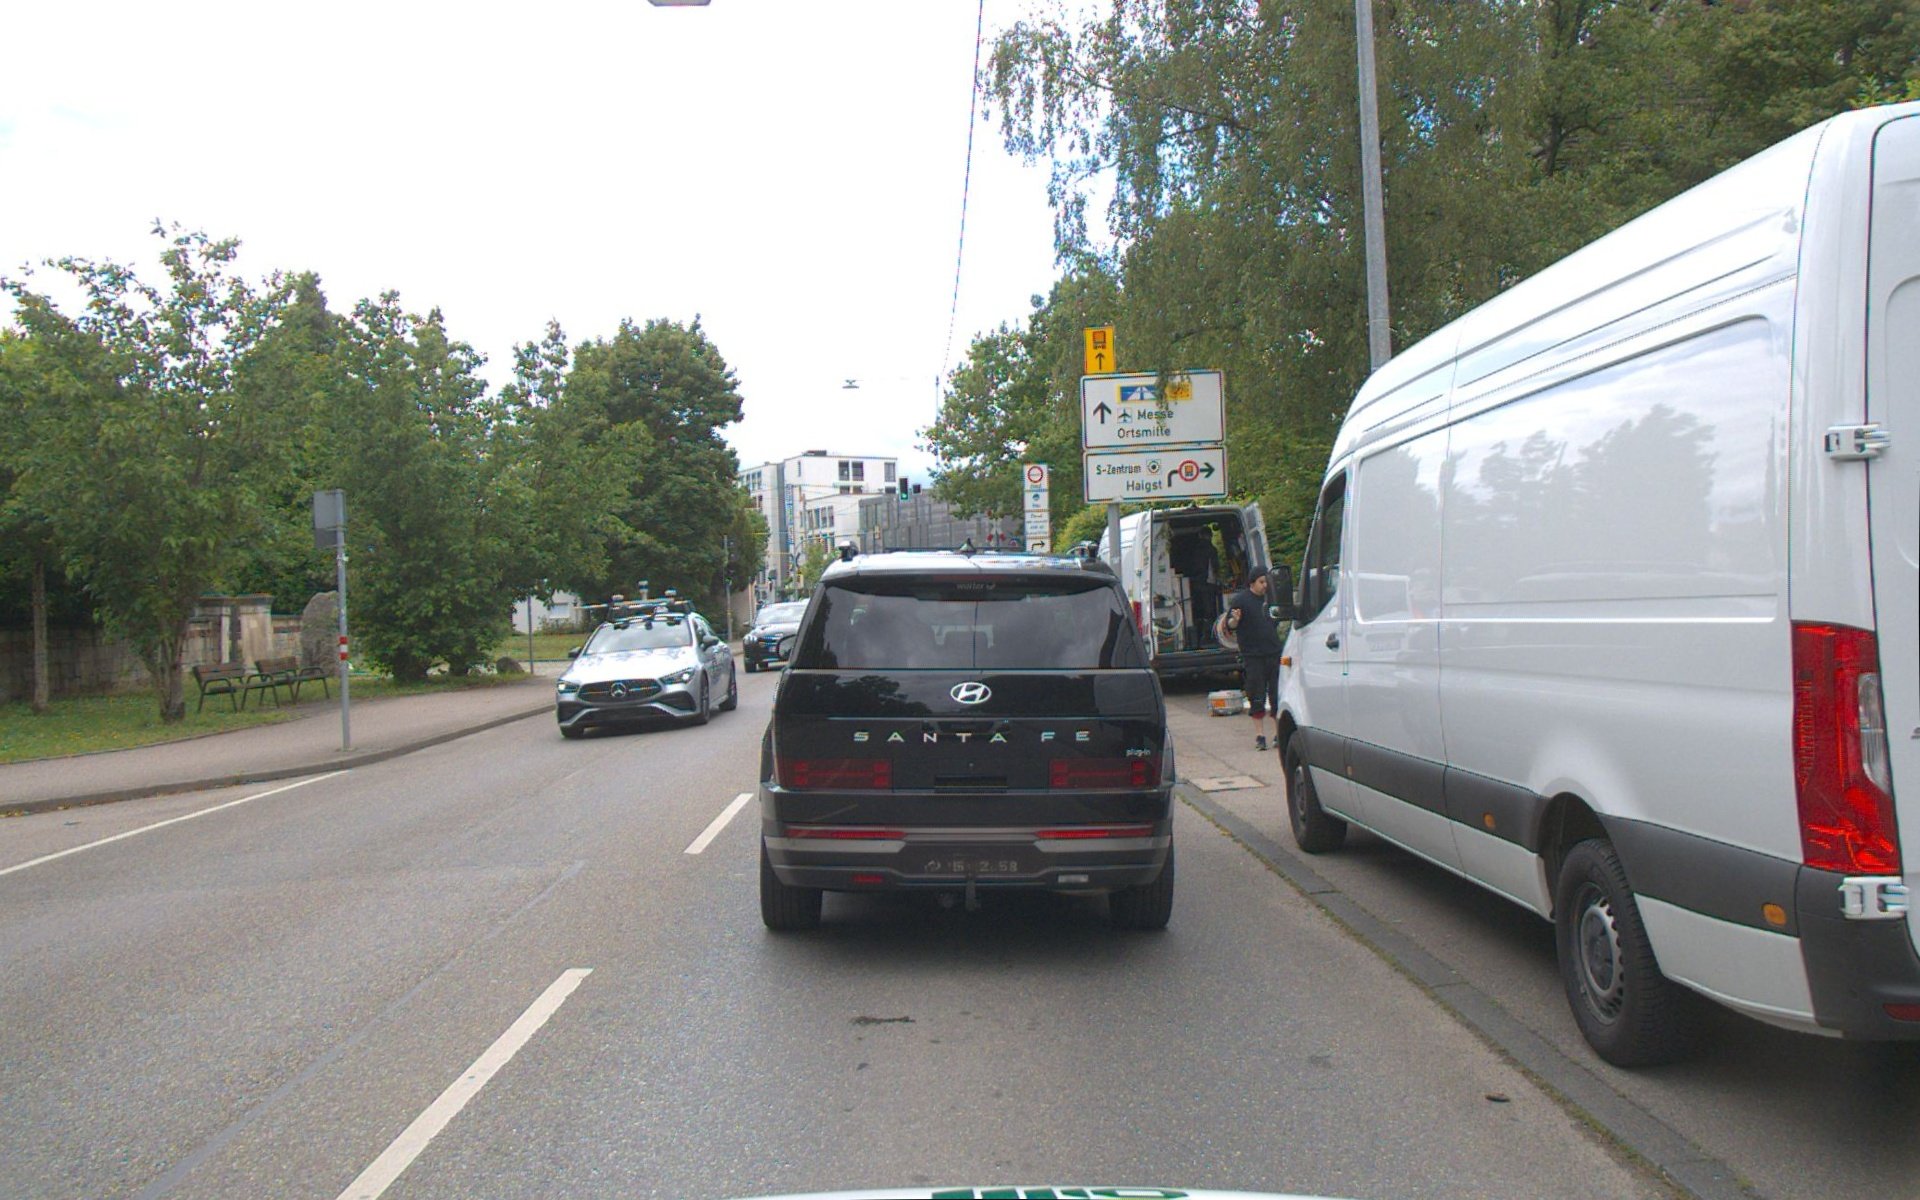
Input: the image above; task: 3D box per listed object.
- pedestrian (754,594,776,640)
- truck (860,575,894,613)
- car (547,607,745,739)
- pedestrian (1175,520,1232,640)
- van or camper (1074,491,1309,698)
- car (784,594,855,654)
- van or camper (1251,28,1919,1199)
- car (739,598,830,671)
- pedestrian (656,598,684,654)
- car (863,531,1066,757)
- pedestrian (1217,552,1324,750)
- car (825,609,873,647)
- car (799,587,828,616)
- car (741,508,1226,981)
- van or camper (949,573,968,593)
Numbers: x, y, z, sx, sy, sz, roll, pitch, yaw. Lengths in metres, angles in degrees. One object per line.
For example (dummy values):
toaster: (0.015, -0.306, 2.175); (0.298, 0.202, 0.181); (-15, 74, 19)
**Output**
pedestrian: (-8.866, 0.764, 75.255); (0.812, 2.049, 1.047); (1, -1, 1)
truck: (-9.167, -0.603, 181.747); (3.048, 3.926, 9.607); (-2, 0, -7)
car: (-3.989, 0.870, 21.705); (1.721, 1.427, 4.413); (-4, 0, -1)
pedestrian: (3.536, -0.280, 23.987); (0.721, 1.672, 0.802); (-3, -1, 8)
van or camper: (3.296, -0.019, 25.187); (2.294, 2.537, 6.600); (-5, -1, -2)
car: (-4.358, 0.727, 51.859); (1.842, 1.673, 4.126); (-4, 0, -1)
van or camper: (2.895, 0.051, 6.831); (1.951, 2.670, 6.543); (-5, 0, -1)
car: (-4.027, 0.773, 38.541); (1.667, 1.509, 3.999); (-4, 0, -1)
pedestrian: (-9.451, 0.839, 53.953); (0.751, 1.779, 0.904); (-1, 0, -2)
car: (0.017, 0.422, 17.423); (1.858, 2.077, 3.993); (1, 0, -1)
pedestrian: (2.863, 0.459, 15.313); (0.773, 1.751, 0.752); (-3, -1, 1)
car: (-4.840, 1.193, 72.833); (1.778, 1.443, 4.827); (-5, 0, -1)
car: (-12.752, 0.137, 143.634); (2.288, 2.356, 4.950); (-2, 0, -7)
car: (0.068, 0.572, 8.421); (1.858, 1.807, 3.993); (1, 0, -1)
van or camper: (-0.178, -1.792, 172.375); (1.760, 2.033, 3.820); (1, 0, -4)
